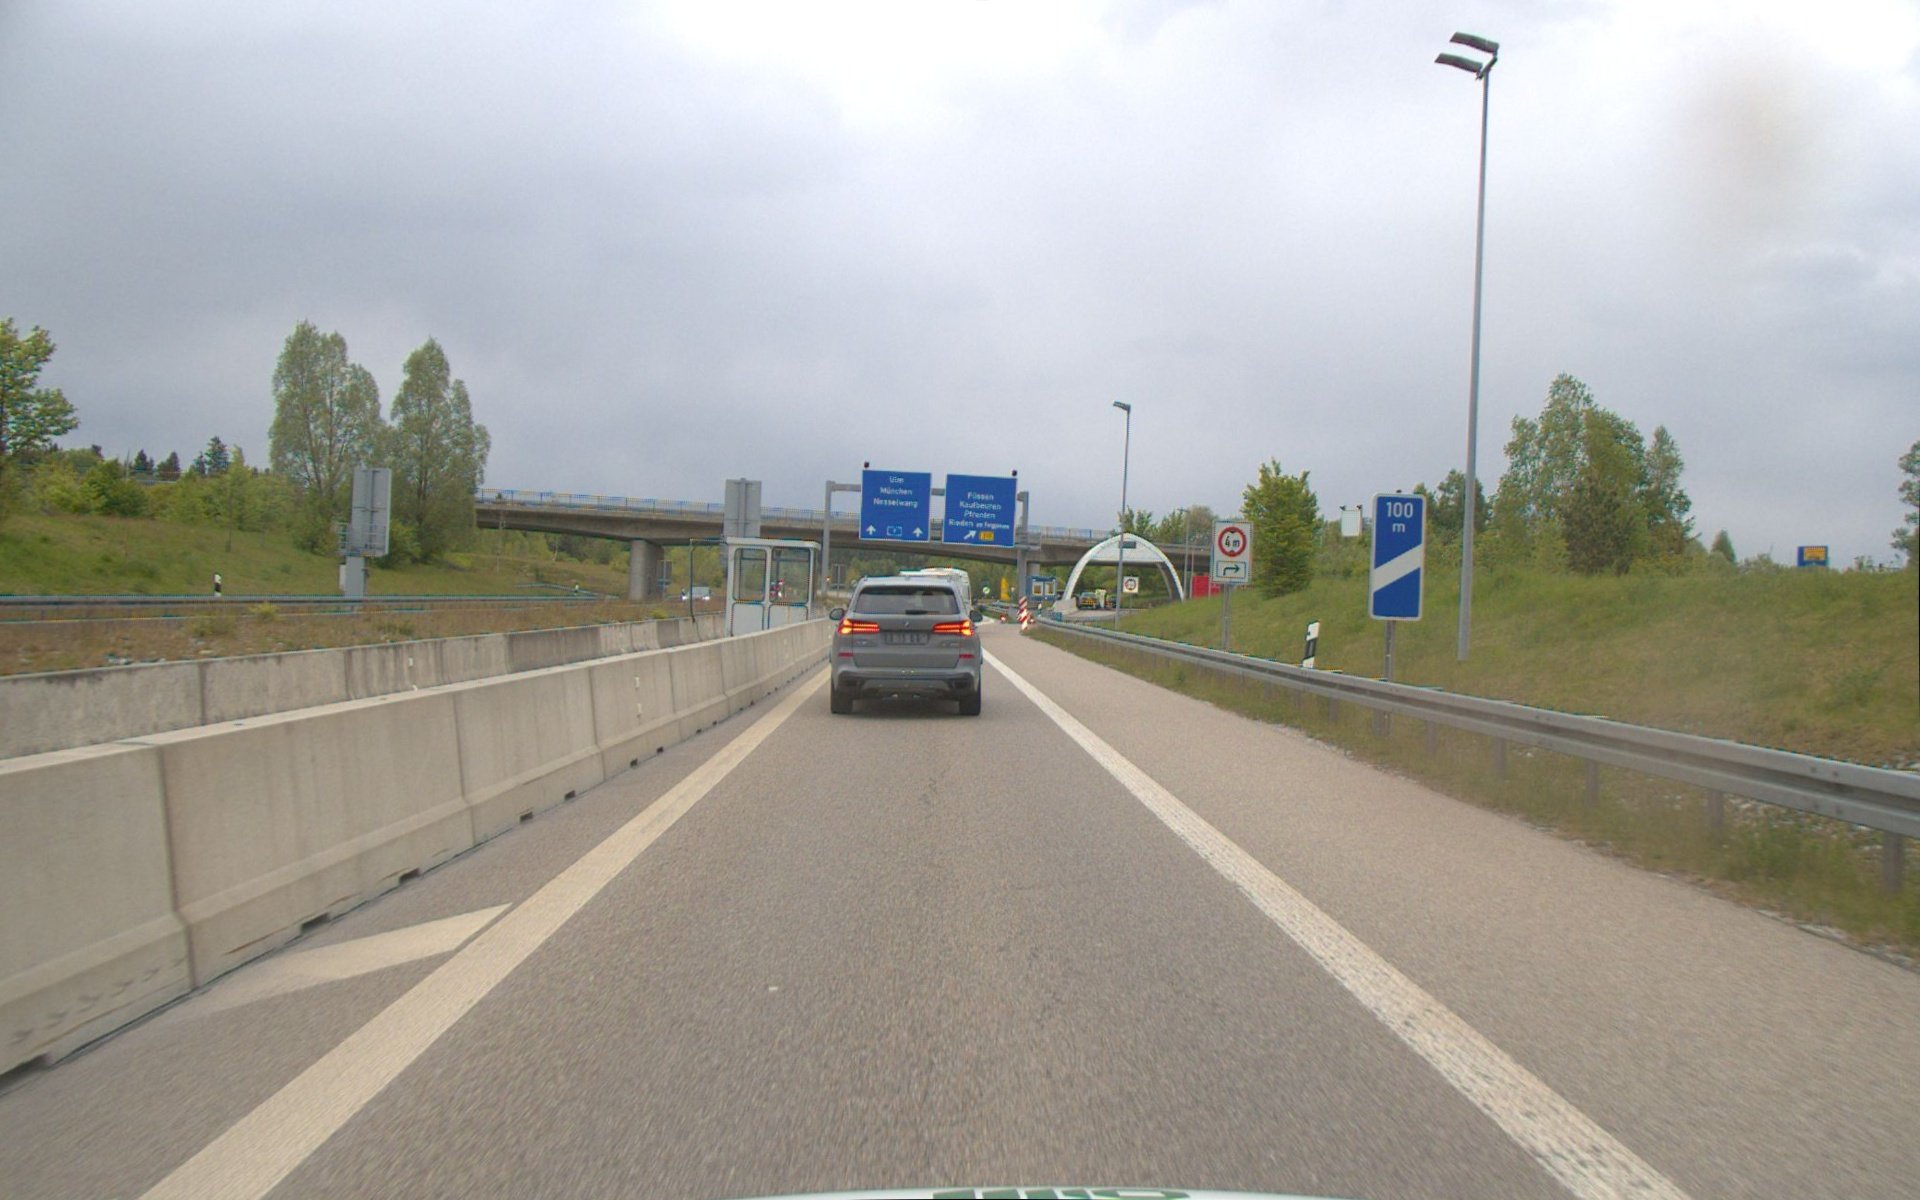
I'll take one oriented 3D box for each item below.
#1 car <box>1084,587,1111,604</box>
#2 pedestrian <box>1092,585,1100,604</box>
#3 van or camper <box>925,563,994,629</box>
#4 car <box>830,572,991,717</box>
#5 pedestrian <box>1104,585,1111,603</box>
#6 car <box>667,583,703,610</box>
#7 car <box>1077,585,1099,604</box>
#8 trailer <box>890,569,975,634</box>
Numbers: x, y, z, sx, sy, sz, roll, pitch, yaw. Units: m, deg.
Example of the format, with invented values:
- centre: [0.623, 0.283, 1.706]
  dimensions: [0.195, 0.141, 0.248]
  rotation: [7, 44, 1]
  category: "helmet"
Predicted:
- centre: [16.516, -0.585, 199.063]
  dimensions: [1.961, 2.049, 3.982]
  rotation: [0, 0, -16]
  category: "car"
- centre: [13.126, -0.562, 159.791]
  dimensions: [0.705, 1.806, 0.690]
  rotation: [0, 0, 3]
  category: "pedestrian"
- centre: [0.021, -0.154, 73.164]
  dimensions: [2.111, 2.812, 5.876]
  rotation: [1, 0, 9]
  category: "van or camper"
- centre: [-0.647, 0.541, 22.320]
  dimensions: [1.953, 1.749, 3.999]
  rotation: [1, 0, -1]
  category: "car"
- centre: [14.329, -0.588, 160.574]
  dimensions: [0.634, 1.806, 0.606]
  rotation: [0, 0, 1]
  category: "pedestrian"
- centre: [-17.500, -0.234, 105.348]
  dimensions: [1.668, 1.602, 4.176]
  rotation: [2, 0, -1]
  category: "car"
- centre: [12.190, -0.564, 157.488]
  dimensions: [1.952, 1.803, 3.767]
  rotation: [0, 0, 2]
  category: "car"
- centre: [-1.031, 0.068, 66.848]
  dimensions: [2.230, 2.473, 6.823]
  rotation: [1, 0, 9]
  category: "trailer"
